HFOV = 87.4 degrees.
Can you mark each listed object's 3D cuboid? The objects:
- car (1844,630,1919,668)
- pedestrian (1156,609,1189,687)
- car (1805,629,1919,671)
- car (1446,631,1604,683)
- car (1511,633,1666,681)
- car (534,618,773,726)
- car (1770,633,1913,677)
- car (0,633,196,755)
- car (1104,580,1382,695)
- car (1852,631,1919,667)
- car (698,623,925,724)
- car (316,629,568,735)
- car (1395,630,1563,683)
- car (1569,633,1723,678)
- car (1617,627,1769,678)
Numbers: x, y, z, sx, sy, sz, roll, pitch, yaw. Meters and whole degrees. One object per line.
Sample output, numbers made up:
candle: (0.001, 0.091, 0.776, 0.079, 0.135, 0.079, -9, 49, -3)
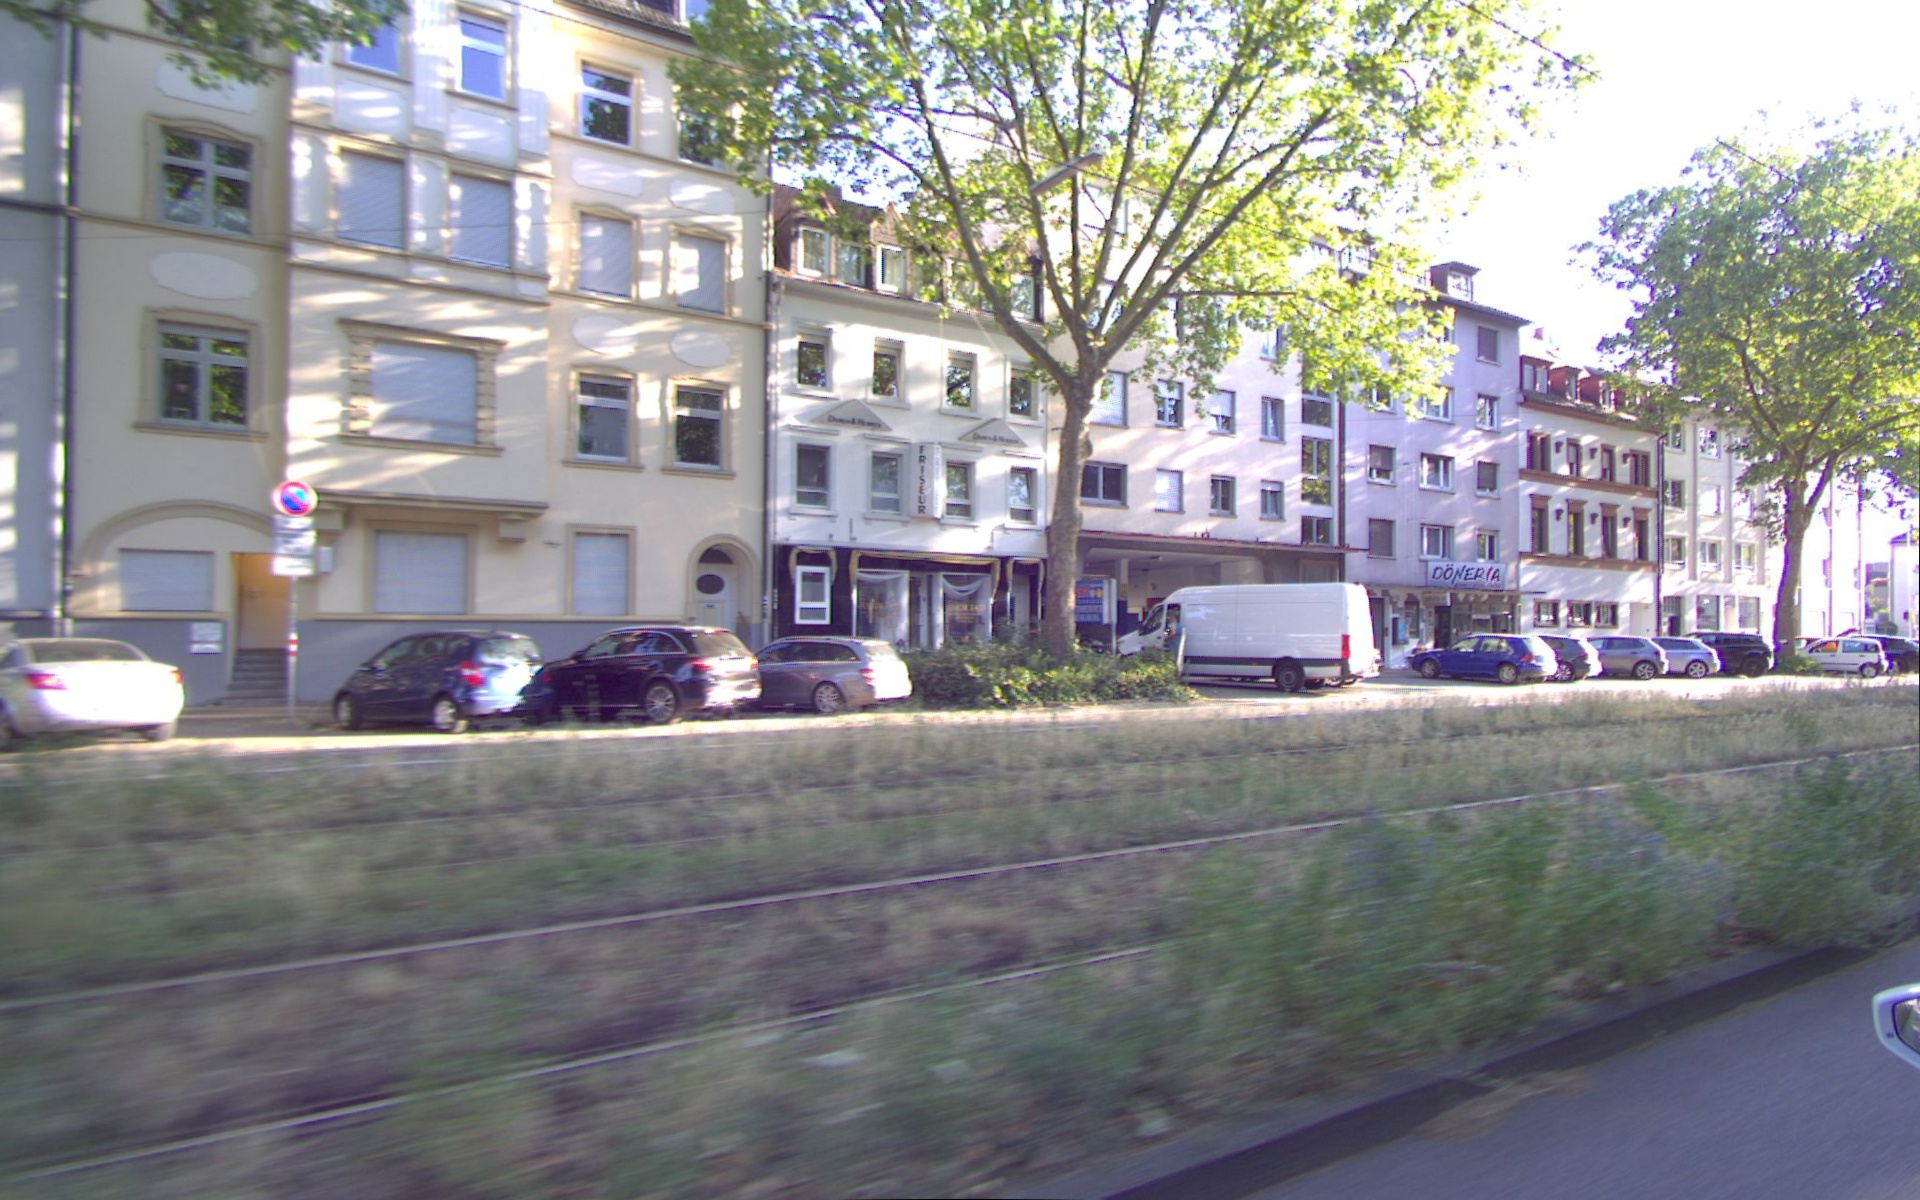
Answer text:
car: (45.949, 2.393, 48.689, 4.227, 1.761, 1.859, 1, -2, 20)
pedestrian: (5.632, 1.268, 26.626, 0.623, 2.040, 0.635, 1, -1, -29)
car: (41.084, 2.246, 45.264, 4.227, 1.761, 1.859, 1, -2, 20)
car: (18.204, 1.795, 32.449, 4.245, 1.477, 1.851, 0, -2, 38)
car: (21.590, 1.939, 34.713, 4.227, 1.477, 1.859, 1, -2, 20)
car: (-5.464, 1.249, 17.867, 3.928, 1.721, 1.854, -2, -3, 29)
car: (37.884, 2.334, 43.305, 4.227, 1.761, 1.859, 1, -2, 20)
car: (-12.214, 1.185, 13.750, 3.932, 1.374, 1.582, 0, -2, 34)
car: (7.355, 0.926, 26.753, 6.855, 2.713, 2.176, 0, -2, 40)
car: (47.956, 2.493, 50.515, 4.227, 1.761, 1.859, 1, -2, 20)
car: (-2.869, 1.352, 19.473, 3.922, 1.721, 1.856, 1, -2, 22)
car: (-8.635, 1.336, 16.715, 3.928, 1.573, 1.853, -3, -2, 29)
car: (15.974, 1.705, 31.108, 1.840, 1.477, 4.270, 2, -2, -35)
car: (24.491, 1.957, 36.054, 4.227, 1.477, 1.859, 1, -2, 20)
car: (27.426, 1.932, 37.749, 4.227, 1.761, 1.859, 1, -2, 20)
